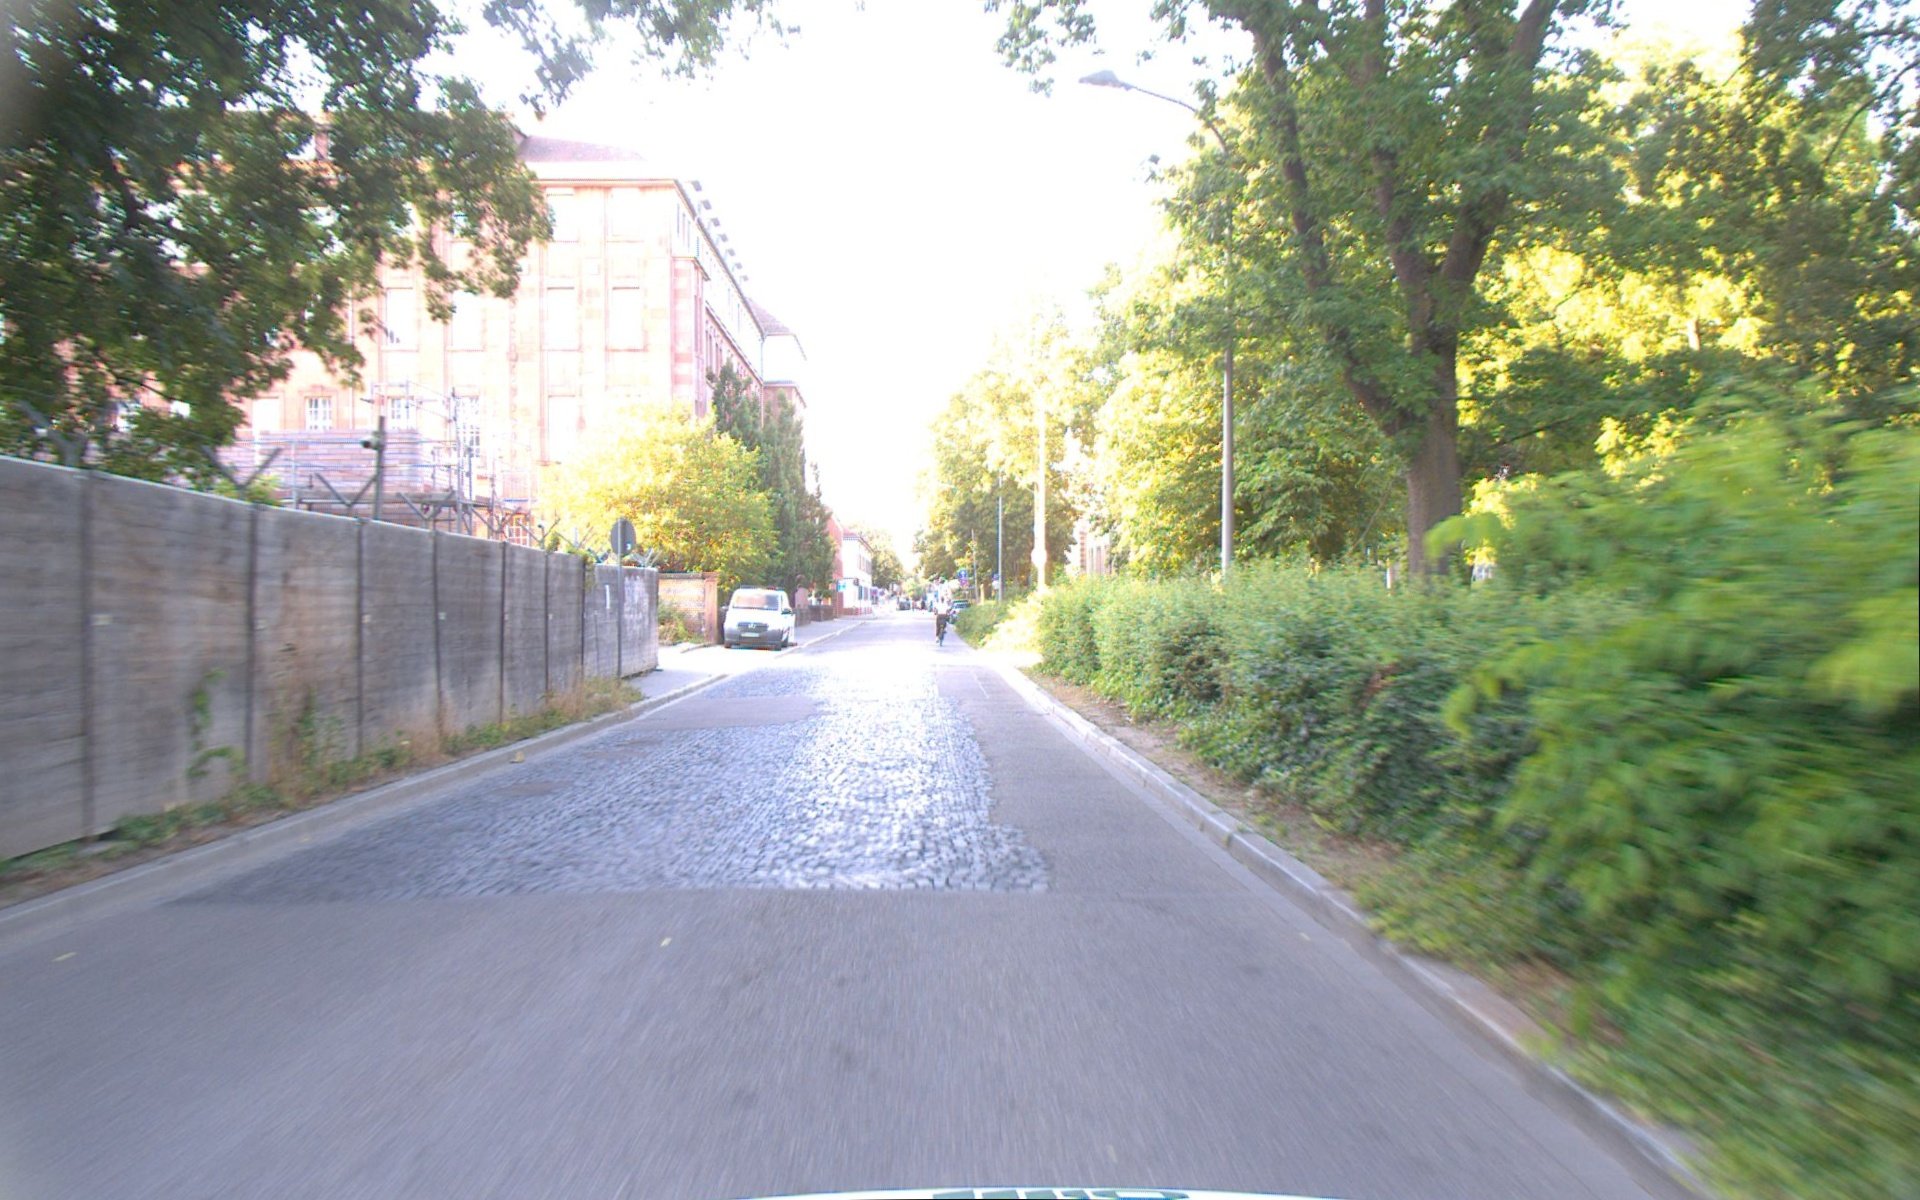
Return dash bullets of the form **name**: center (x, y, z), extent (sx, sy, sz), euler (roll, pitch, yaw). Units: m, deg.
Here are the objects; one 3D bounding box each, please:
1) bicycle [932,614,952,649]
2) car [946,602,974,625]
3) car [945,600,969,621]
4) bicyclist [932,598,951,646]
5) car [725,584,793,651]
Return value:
- **bicycle**: center (-0.667, 1.125, 60.018), extent (0.625, 1.214, 1.874), euler (1, 0, -3)
- **car**: center (0.010, 0.965, 113.950), extent (1.652, 1.472, 3.669), euler (-3, -1, -3)
- **car**: center (-0.252, 0.790, 127.839), extent (1.681, 1.564, 4.045), euler (0, 0, -3)
- **bicyclist**: center (-0.660, 0.796, 60.004), extent (0.626, 1.696, 0.842), euler (1, 0, -3)
- **car**: center (-6.539, 0.599, 54.342), extent (1.845, 2.049, 5.222), euler (1, -1, -3)
